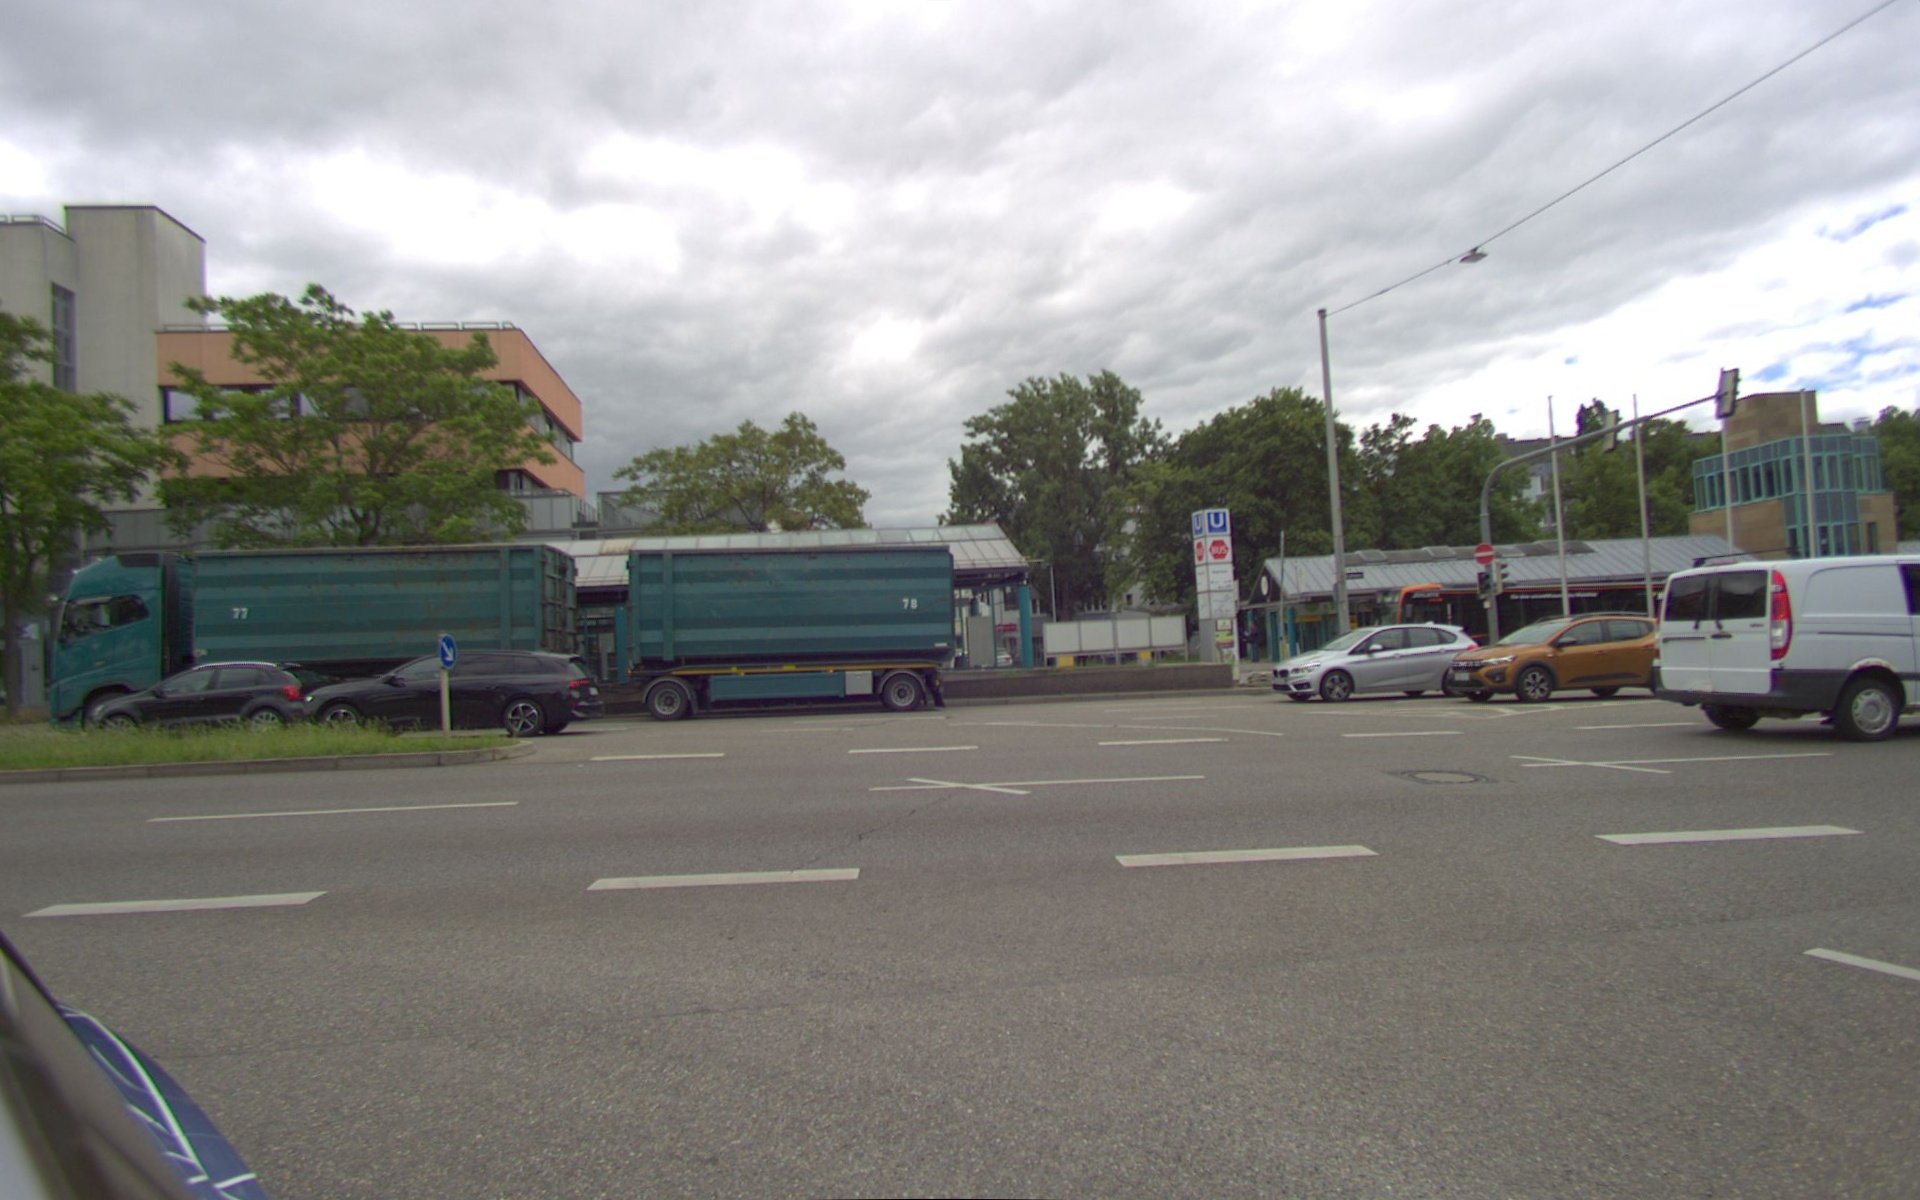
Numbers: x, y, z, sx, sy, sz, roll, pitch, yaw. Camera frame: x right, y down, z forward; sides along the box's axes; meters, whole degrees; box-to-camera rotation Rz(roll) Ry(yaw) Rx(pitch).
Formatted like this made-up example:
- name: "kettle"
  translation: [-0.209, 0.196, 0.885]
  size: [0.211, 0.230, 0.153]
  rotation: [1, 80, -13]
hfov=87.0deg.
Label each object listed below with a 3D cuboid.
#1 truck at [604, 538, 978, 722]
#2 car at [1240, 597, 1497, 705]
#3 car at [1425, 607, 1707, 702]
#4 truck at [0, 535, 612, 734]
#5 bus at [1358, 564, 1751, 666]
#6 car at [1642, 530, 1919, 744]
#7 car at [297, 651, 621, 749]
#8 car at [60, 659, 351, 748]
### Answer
- name: "truck"
  translation: [-3.761, 0.706, 23.473]
  size: [7.904, 3.756, 3.382]
  rotation: [-1, -3, -5]
- name: "car"
  translation: [8.502, 1.052, 21.293]
  size: [4.497, 2.029, 2.003]
  rotation: [-1, -3, -7]
- name: "car"
  translation: [11.054, 1.005, 18.642]
  size: [3.938, 1.528, 2.003]
  rotation: [-2, -3, -6]
- name: "truck"
  translation: [-13.799, 0.702, 22.278]
  size: [11.105, 3.756, 3.383]
  rotation: [-1, -2, -6]
- name: "bus"
  translation: [20.919, 0.576, 36.148]
  size: [11.993, 3.157, 2.965]
  rotation: [-2, -2, 1]
- name: "car"
  translation: [10.525, 0.340, 10.894]
  size: [5.001, 2.029, 1.881]
  rotation: [-2, -3, -3]
- name: "car"
  translation: [-8.064, 1.597, 16.677]
  size: [4.376, 1.342, 2.003]
  rotation: [-2, -3, -7]
- name: "car"
  translation: [-13.864, 1.909, 18.826]
  size: [3.937, 1.428, 1.806]
  rotation: [-1, -6, -8]
